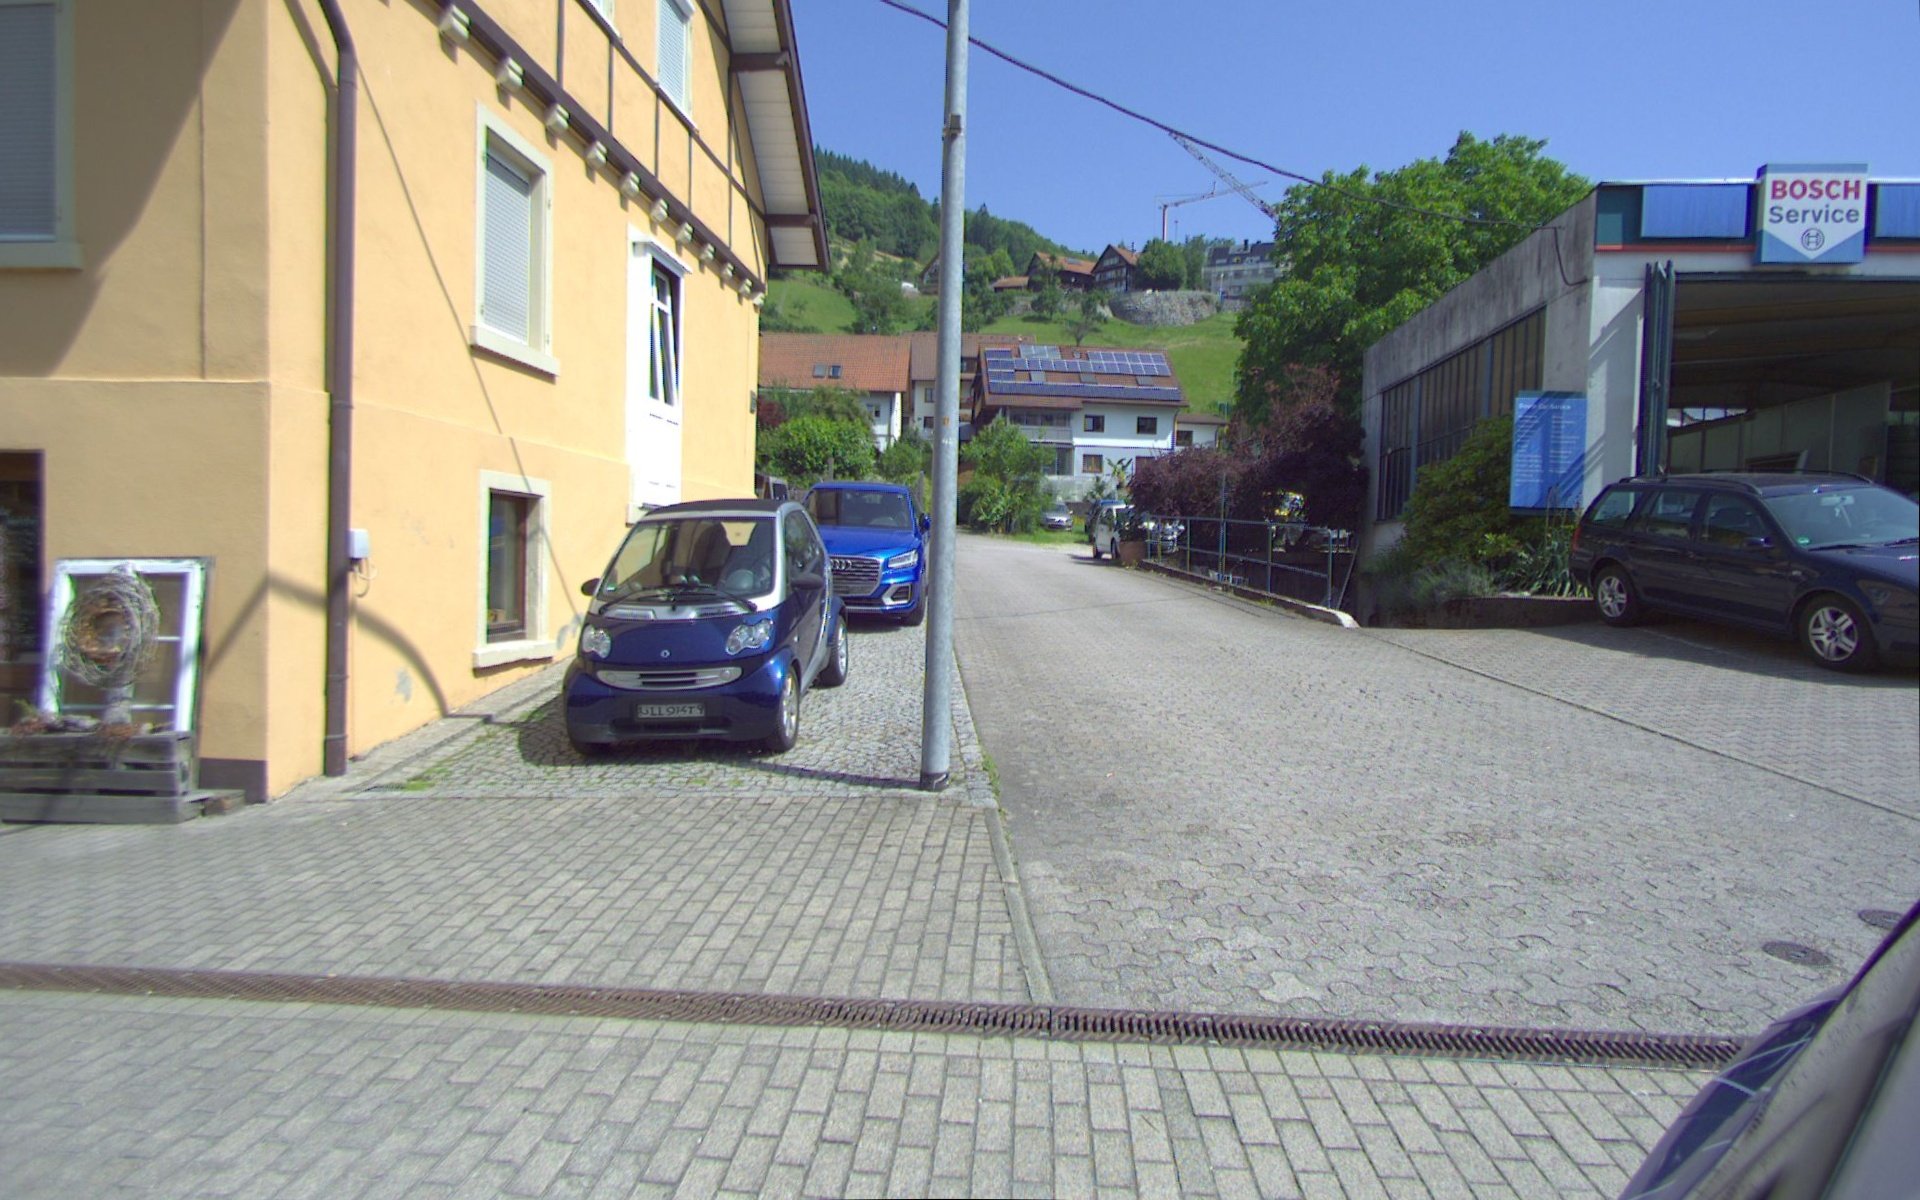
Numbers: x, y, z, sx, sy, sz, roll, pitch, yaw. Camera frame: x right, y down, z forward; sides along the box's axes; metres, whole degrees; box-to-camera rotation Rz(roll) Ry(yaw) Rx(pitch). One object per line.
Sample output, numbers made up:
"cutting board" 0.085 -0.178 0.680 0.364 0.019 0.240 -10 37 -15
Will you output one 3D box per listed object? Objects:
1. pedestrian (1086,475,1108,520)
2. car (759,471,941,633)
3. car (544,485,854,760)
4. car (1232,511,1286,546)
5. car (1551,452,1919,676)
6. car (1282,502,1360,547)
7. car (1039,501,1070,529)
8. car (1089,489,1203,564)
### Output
"pedestrian" 7.606 -5.700 56.190 0.811 2.459 0.829 -4 6 -26
"car" -1.161 -0.689 12.362 1.702 1.644 3.939 -1 6 1
"car" -1.688 -0.001 7.362 1.399 1.553 2.665 -2 7 2
"car" 11.915 -2.905 40.493 1.442 1.273 3.387 1 6 6
"car" 7.543 -0.489 9.080 1.765 1.562 4.340 -3 6 -3
"car" 13.975 -2.982 39.387 1.648 1.572 3.916 -2 6 0
"car" 4.738 -4.301 51.027 1.320 1.291 3.086 -2 6 1
"car" 4.623 -1.960 25.937 1.962 1.663 4.884 -2 6 0
